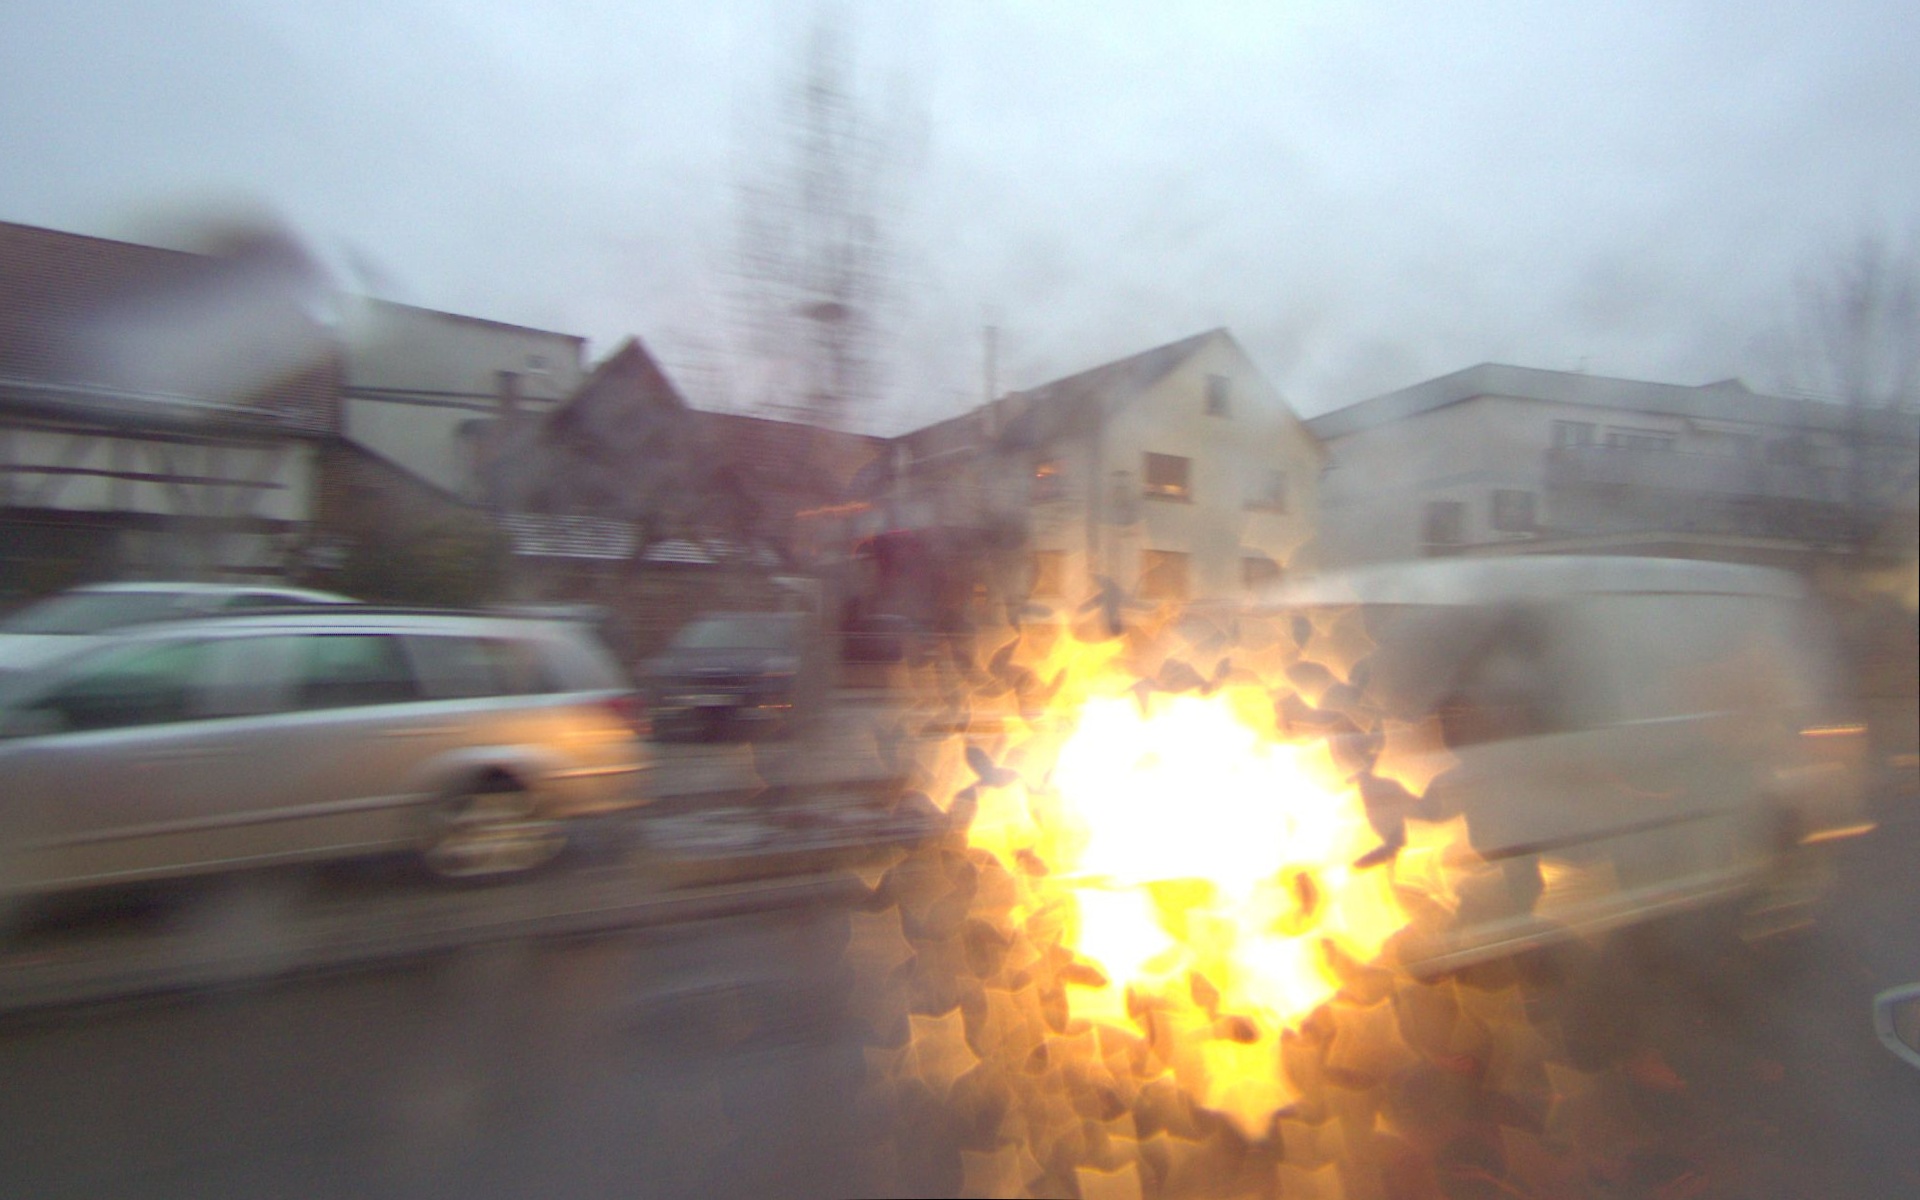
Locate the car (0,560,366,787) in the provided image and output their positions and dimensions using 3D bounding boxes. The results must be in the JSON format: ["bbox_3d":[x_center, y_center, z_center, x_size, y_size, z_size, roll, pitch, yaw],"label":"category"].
[{"bbox_3d":[-8.101,0.596,9.741,1.949,1.675,4.656,1,-2,-1],"label":"car"}]

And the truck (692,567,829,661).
[{"bbox_3d":[-7.093,0.456,35.053,2.755,2.991,5.807,2,0,-32],"label":"truck"}]

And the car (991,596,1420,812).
[{"bbox_3d":[2.281,0.787,9.054,3.639,1.556,1.821,2,-1,-35],"label":"car"}]

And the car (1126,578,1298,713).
[{"bbox_3d":[4.035,0.759,17.033,2.032,1.910,5.402,0,-2,5],"label":"car"}]

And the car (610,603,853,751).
[{"bbox_3d":[-2.648,0.843,12.678,1.960,1.550,4.001,1,-1,3],"label":"car"}]

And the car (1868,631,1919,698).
[{"bbox_3d":[22.135,1.417,21.877,1.704,1.496,4.092,0,-3,13],"label":"car"}]

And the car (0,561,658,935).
[{"bbox_3d":[-4.004,0.629,5.344,4.216,1.554,1.891,1,-1,-37],"label":"car"}]

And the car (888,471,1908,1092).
[{"bbox_3d":[2.222,0.611,4.861,4.789,1.773,1.939,1,-3,-27],"label":"car"}]

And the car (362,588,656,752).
[{"bbox_3d":[-5.076,0.781,11.998,1.687,1.603,4.114,1,-2,-1],"label":"car"}]
